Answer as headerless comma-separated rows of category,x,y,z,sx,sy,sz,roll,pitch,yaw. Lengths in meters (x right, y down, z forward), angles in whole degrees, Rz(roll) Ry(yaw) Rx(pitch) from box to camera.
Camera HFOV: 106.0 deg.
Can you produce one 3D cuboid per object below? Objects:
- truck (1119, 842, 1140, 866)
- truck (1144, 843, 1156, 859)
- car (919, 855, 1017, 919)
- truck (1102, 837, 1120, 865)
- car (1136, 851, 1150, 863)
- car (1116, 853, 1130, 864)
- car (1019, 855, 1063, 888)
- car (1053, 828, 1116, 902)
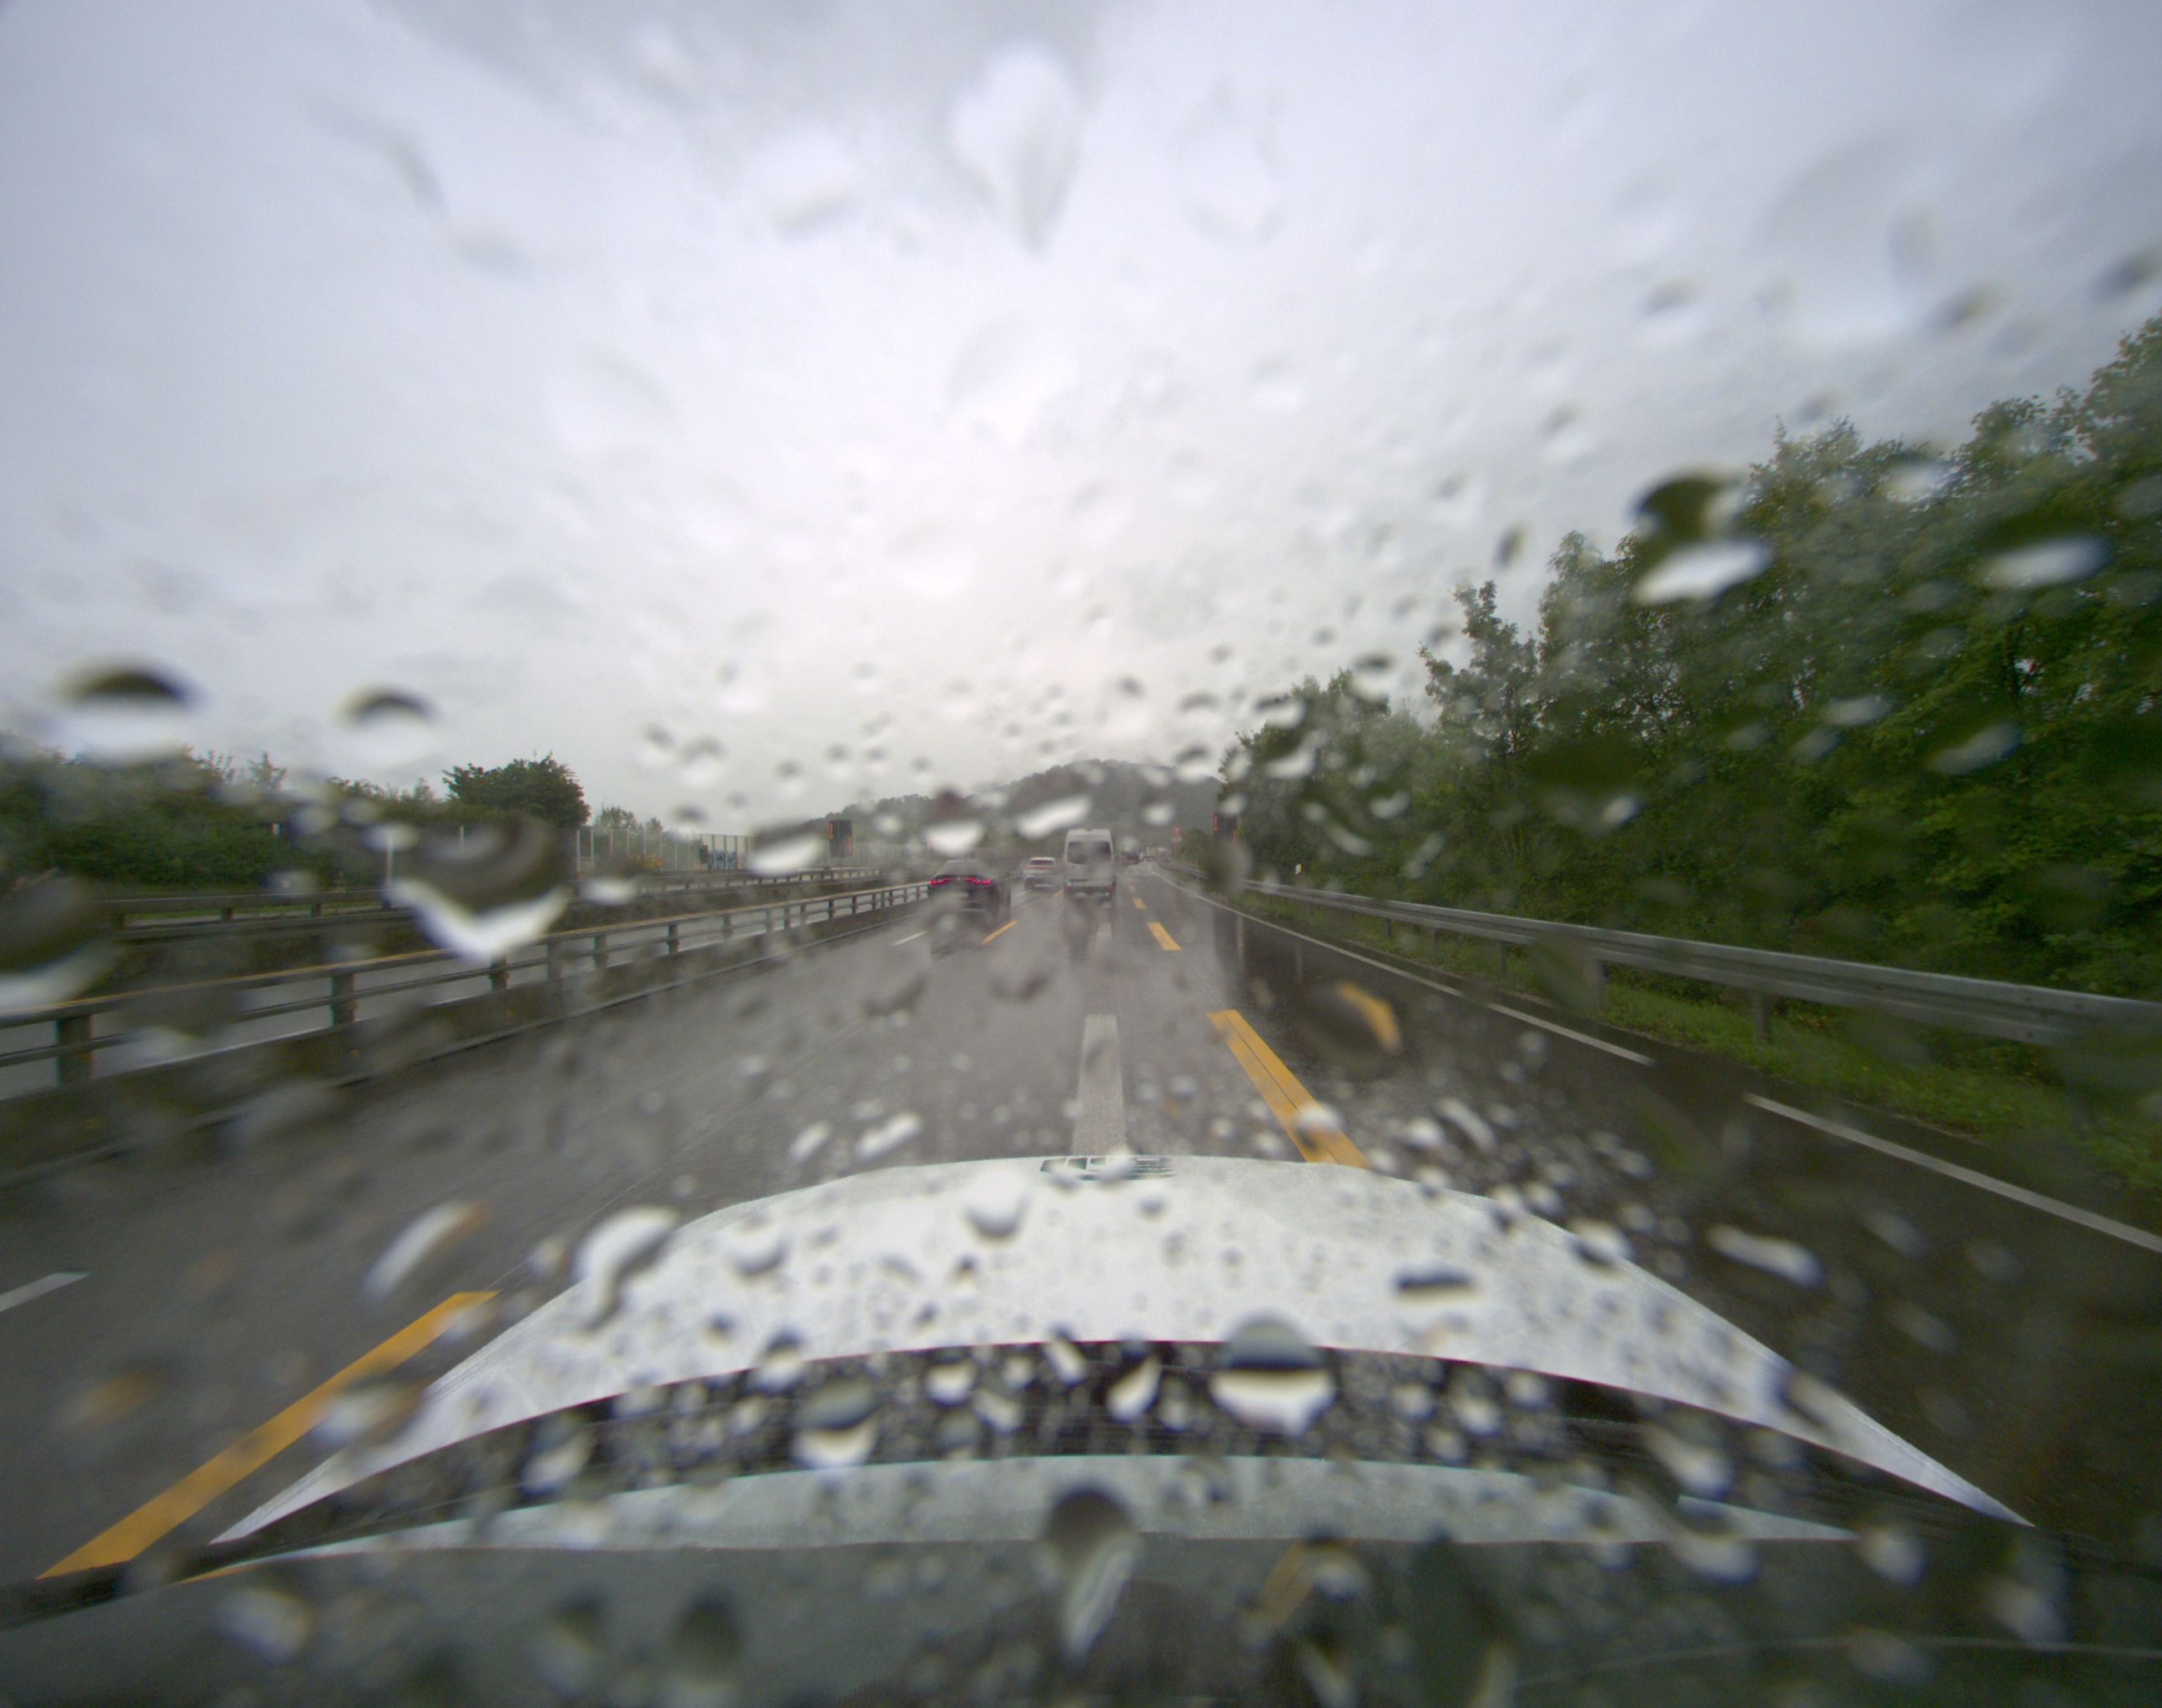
truck,9.170,0.007,153.375,3.563,4.406,9.639,-1,-1,6
truck,19.669,-0.680,232.321,3.020,4.406,9.642,-1,-1,7
car,-3.059,0.861,22.935,1.986,1.585,4.415,-1,-1,2
truck,3.526,-0.277,93.869,1.985,3.109,8.504,-1,-1,3
car,15.287,0.726,199.909,2.882,2.887,6.426,-1,-1,8
car,5.854,0.585,113.418,1.765,1.475,4.005,-1,-1,5
car,-2.035,0.888,42.711,1.987,1.617,4.796,-1,-1,0
car,0.231,0.414,31.529,2.136,2.571,5.393,-1,-1,3
